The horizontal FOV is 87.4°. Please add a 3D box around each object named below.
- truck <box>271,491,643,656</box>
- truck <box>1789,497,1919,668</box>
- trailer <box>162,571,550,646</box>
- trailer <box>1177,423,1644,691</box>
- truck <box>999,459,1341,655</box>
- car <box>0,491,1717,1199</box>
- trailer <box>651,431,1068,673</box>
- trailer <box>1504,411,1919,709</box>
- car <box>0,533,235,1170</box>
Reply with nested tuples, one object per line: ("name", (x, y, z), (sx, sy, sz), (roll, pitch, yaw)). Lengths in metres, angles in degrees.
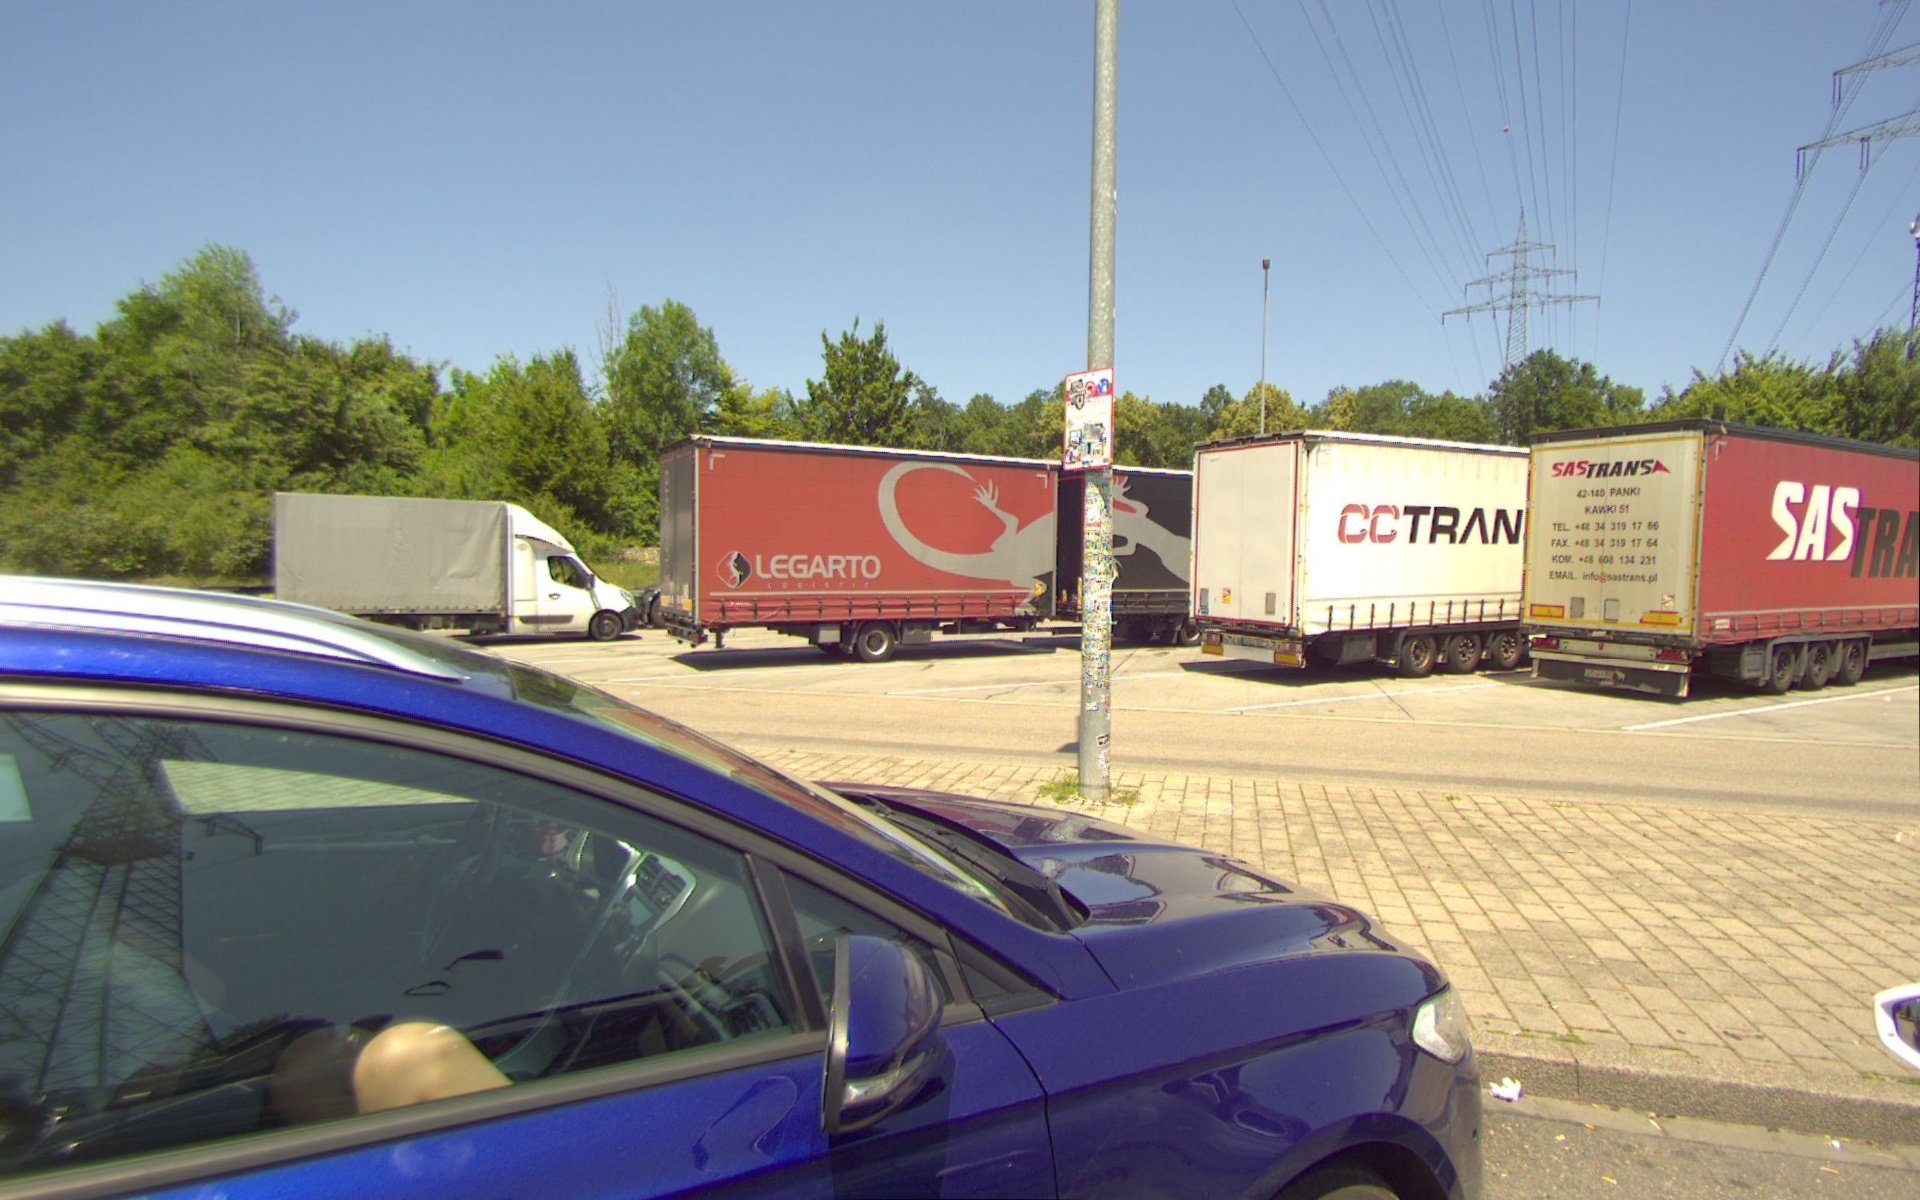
("truck", (-11.221, -0.617, 22.997), (7.187, 3.289, 2.694), (-1, 3, -29))
("truck", (21.276, -0.404, 22.059), (5.903, 3.409, 2.798), (-1, 3, -30))
("trailer", (-14.733, 0.112, 25.235), (8.007, 1.648, 2.199), (-1, 3, -30))
("trailer", (8.991, -0.769, 19.352), (10.264, 4.158, 2.693), (-1, 3, -30))
("truck", (5.289, -0.995, 24.546), (8.586, 4.127, 2.693), (-1, 3, -30))
("car", (-0.949, 0.650, 1.456), (4.522, 1.491, 1.743), (0, 2, -32))
("trailer", (-1.863, -0.900, 20.336), (8.007, 4.127, 2.693), (-1, 3, -30))
("trailer", (15.485, -0.677, 18.620), (13.599, 4.127, 2.807), (-1, 3, -31))
("car", (-4.390, 0.578, 2.093), (4.522, 1.526, 1.743), (0, 2, -32))
